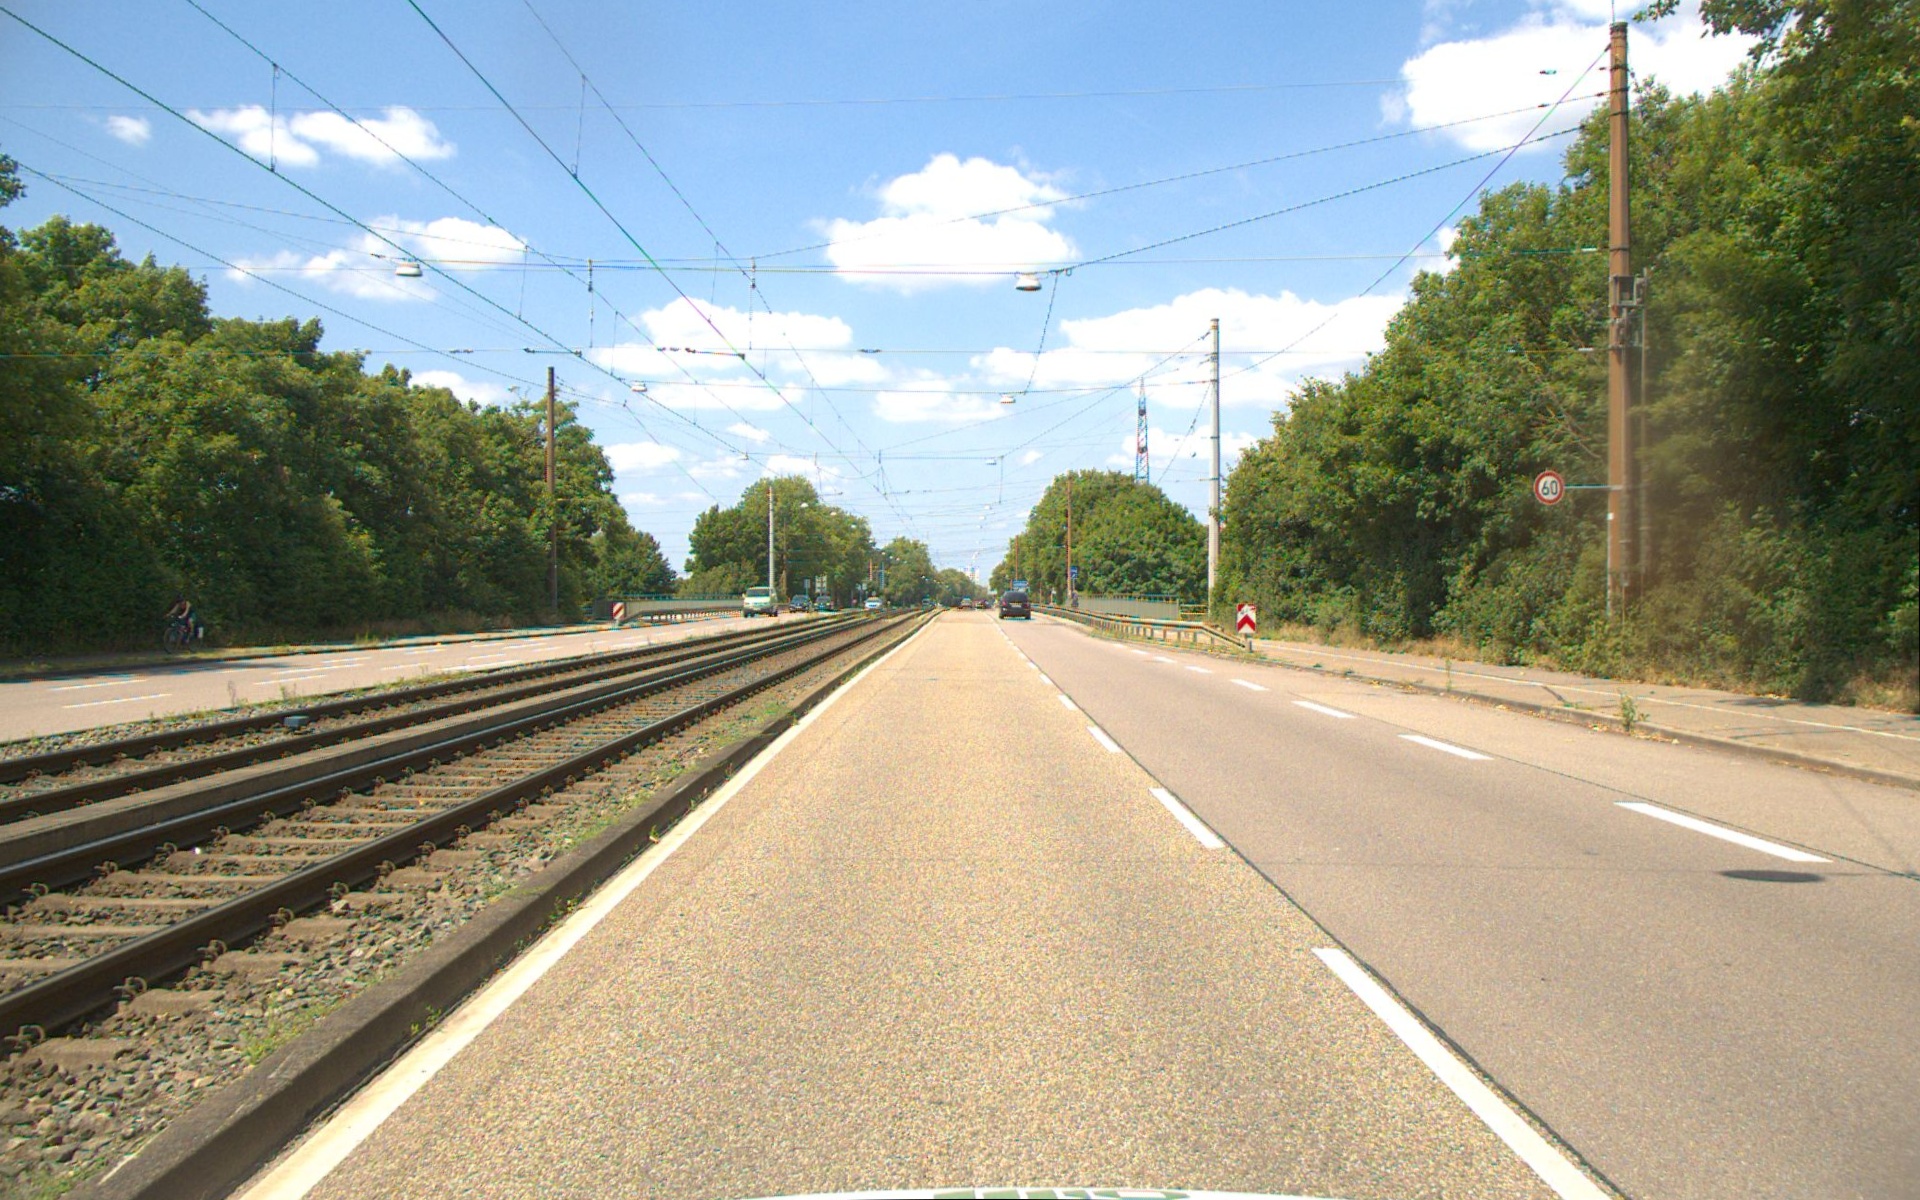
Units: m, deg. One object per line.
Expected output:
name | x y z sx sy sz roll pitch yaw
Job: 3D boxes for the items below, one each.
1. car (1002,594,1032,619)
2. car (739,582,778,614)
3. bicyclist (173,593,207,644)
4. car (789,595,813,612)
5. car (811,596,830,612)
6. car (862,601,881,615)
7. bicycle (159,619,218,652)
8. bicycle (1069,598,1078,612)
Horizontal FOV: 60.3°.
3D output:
car | 3.259 0.349 94.512 1.554 1.366 3.271 0 0 -1
car | -12.978 -0.108 106.826 1.774 1.959 5.179 -1 0 1
bicyclist | -21.132 0.505 45.405 0.557 1.391 0.631 2 -1 2
car | -13.108 0.264 136.582 1.531 1.371 3.929 -1 0 1
car | -13.175 0.376 156.381 1.542 1.424 3.938 0 0 0
car | -9.666 0.864 180.660 1.676 1.445 4.624 -1 0 1
bicycle | -21.130 0.967 45.346 0.574 0.833 2.069 -1 0 2
bicycle | 8.298 0.386 120.977 0.548 1.042 1.848 0 -1 0
